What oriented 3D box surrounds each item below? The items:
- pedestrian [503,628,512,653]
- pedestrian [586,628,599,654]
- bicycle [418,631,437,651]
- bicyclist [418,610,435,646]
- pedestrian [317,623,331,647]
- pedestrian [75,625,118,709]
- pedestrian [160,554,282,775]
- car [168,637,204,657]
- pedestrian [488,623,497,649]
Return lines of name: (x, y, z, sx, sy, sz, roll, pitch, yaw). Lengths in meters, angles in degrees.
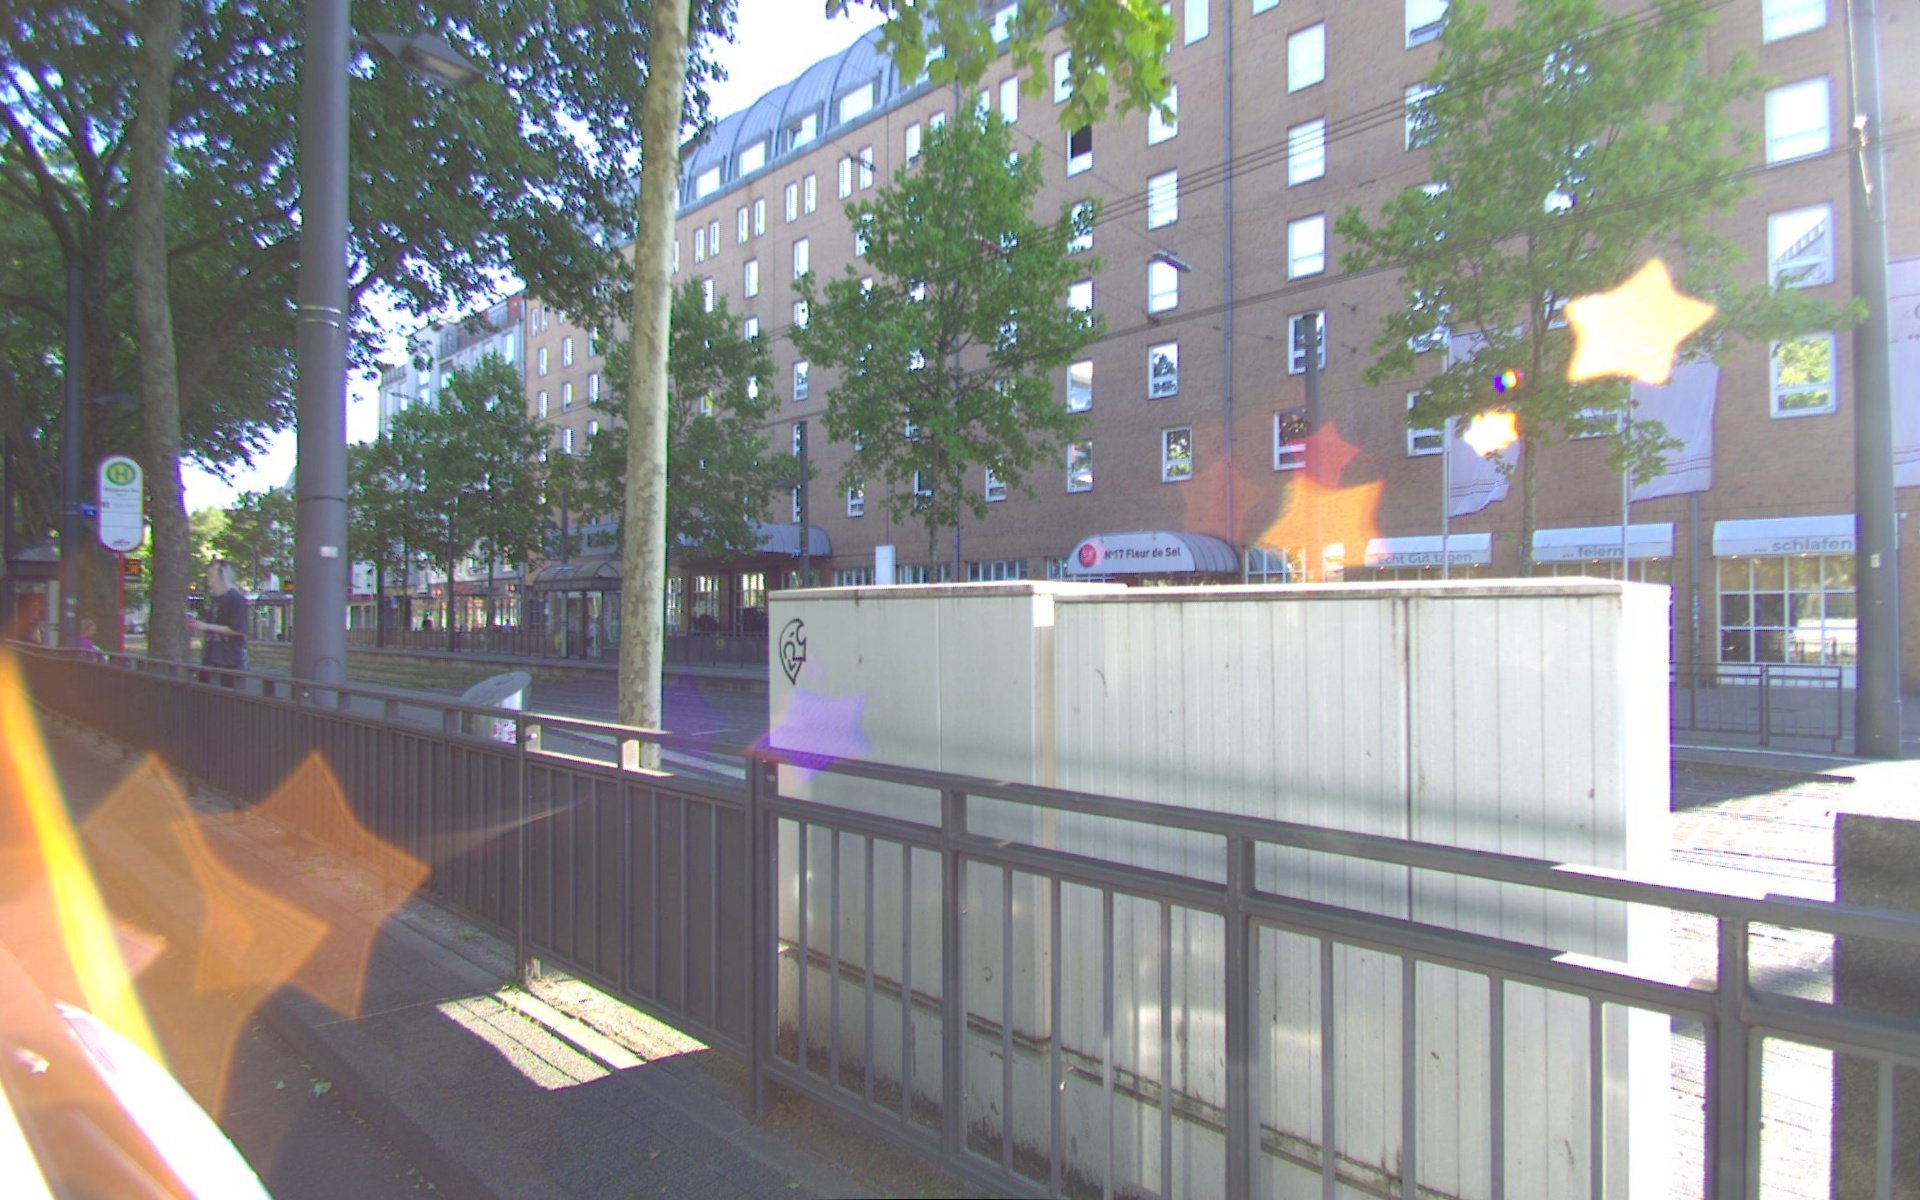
pedestrian: (-27.284, 2.434, 61.000, 0.431, 1.532, 0.660, 1, -2, -27)
pedestrian: (-20.324, 2.278, 56.010, 0.516, 1.447, 0.512, -2, -2, 44)
bicycle: (-28.469, 2.193, 54.113, 0.444, 1.012, 1.754, 2, -2, -44)
bicyclist: (-28.567, 1.511, 54.177, 0.564, 1.918, 0.814, 2, -2, -43)
pedestrian: (-54.783, 3.039, 87.210, 0.763, 2.029, 0.796, -2, -2, 41)
pedestrian: (-13.953, 1.070, 16.352, 0.493, 1.325, 0.419, 1, -2, -41)
pedestrian: (-6.596, 0.552, 9.053, 0.600, 1.897, 0.621, 1, 0, 10)
car: (-74.865, 4.491, 97.904, 3.998, 1.874, 1.973, -1, -2, 41)
pedestrian: (-28.045, 2.170, 60.705, 0.431, 1.518, 0.660, 1, -2, -27)
